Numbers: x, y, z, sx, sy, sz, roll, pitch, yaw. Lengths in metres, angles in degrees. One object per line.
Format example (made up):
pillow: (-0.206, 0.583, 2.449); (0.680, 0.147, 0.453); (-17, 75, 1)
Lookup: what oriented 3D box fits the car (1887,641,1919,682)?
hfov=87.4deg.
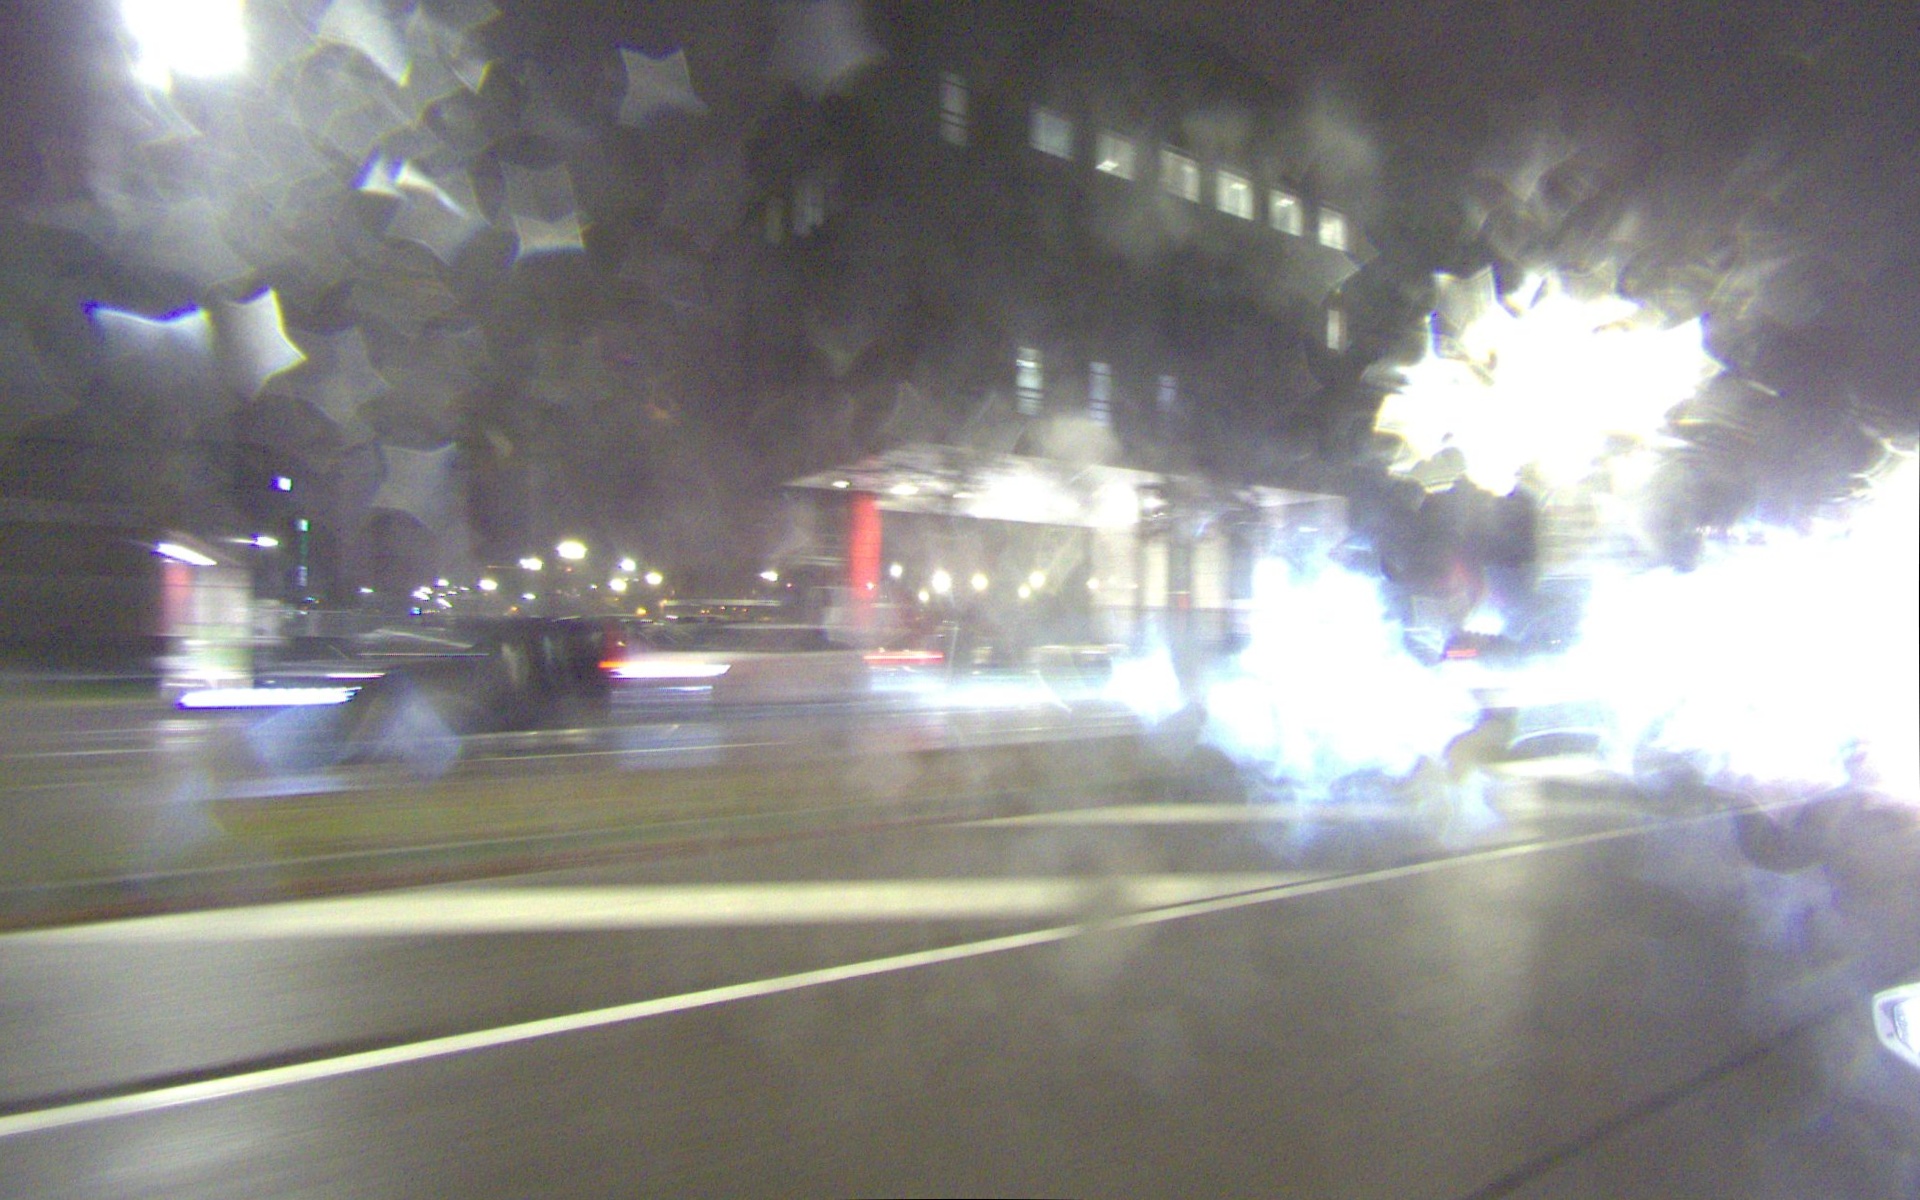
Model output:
car: (37.736, 2.379, 38.667); (4.315, 1.506, 1.834); (2, 0, -31)

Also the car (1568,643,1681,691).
car: (24.833, 2.454, 37.500); (4.315, 1.614, 1.834); (2, 0, -31)

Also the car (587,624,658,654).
car: (-21.598, 2.483, 64.243); (3.956, 1.840, 1.982); (2, 0, -32)

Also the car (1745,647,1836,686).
car: (38.022, 2.993, 45.971); (4.315, 1.614, 1.834); (2, 0, -31)

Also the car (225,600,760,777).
car: (-5.137, 0.882, 11.553); (5.275, 1.614, 1.831); (2, 0, -36)

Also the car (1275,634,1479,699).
car: (10.281, 1.571, 24.573); (5.500, 1.376, 1.832); (2, 0, -33)

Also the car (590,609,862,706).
car: (-4.382, 1.045, 19.042); (4.695, 1.614, 1.834); (2, 0, -31)

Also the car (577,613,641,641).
car: (-24.876, 1.919, 71.261); (3.956, 1.840, 1.982); (2, 0, -32)

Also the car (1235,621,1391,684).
car: (10.041, 1.472, 28.526); (4.315, 1.614, 1.834); (2, 0, -31)

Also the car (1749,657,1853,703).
car: (33.611, 3.144, 40.117); (4.315, 1.614, 1.834); (2, 0, -31)

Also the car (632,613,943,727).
car: (-2.775, 1.079, 16.525); (4.695, 1.614, 1.834); (2, 0, -31)

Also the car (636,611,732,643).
car: (-17.074, 1.661, 62.167); (5.368, 1.840, 1.982); (2, 0, -33)
